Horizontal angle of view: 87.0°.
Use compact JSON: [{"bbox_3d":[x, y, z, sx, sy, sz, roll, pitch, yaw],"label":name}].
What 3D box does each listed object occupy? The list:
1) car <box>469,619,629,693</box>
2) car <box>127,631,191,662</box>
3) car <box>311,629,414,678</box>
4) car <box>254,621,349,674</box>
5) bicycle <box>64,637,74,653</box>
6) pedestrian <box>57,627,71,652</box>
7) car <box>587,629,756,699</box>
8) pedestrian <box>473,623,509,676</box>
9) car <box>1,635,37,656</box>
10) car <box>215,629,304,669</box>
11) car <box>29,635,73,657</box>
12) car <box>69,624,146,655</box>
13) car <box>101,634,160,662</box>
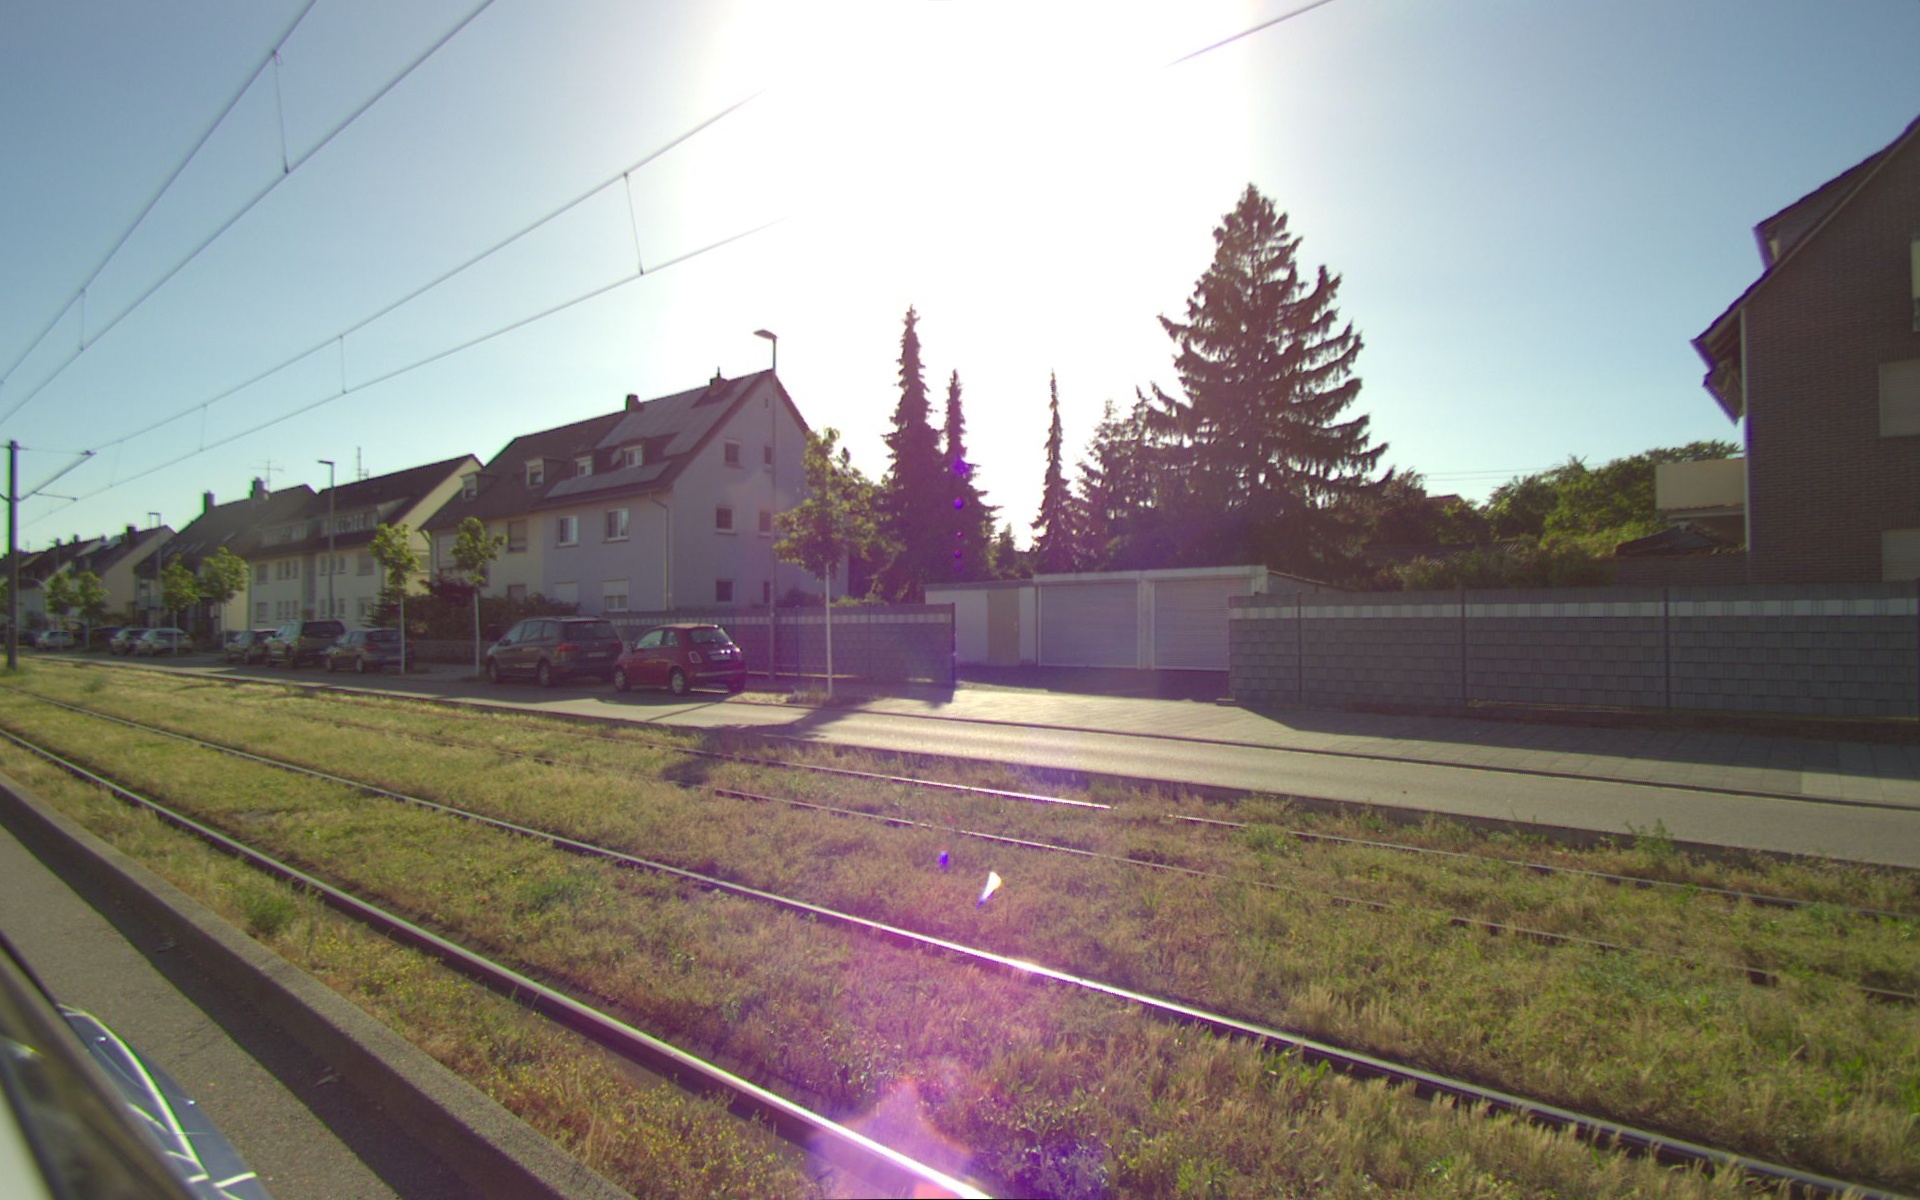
[{"bbox_3d":[-10.631,1.379,26.014,4.843,1.697,1.801,-2,0,41],"label":"car"},{"bbox_3d":[-42.082,2.403,53.110,4.437,1.486,1.672,-1,0,38],"label":"car"},{"bbox_3d":[-20.502,1.798,34.672,4.044,1.502,1.660,-2,0,38],"label":"car"},{"bbox_3d":[-25.068,1.763,38.457,4.838,1.837,1.727,-2,0,41],"label":"car"},{"bbox_3d":[-68.271,3.417,77.559,0.471,1.172,1.872,-1,0,-45],"label":"bicycle"},{"bbox_3d":[-68.361,3.005,77.177,0.676,1.829,0.611,-1,0,31],"label":"pedestrian"},{"bbox_3d":[-6.464,1.375,22.511,4.076,1.415,1.677,-2,-3,41],"label":"car"},{"bbox_3d":[-15.043,1.566,32.462,0.919,1.652,0.689,-1,0,38],"label":"pedestrian"},{"bbox_3d":[-74.321,3.576,79.893,4.082,1.523,1.603,-2,-1,40],"label":"car"},{"bbox_3d":[-29.528,2.023,42.624,4.553,1.552,1.940,-1,0,40],"label":"car"},{"bbox_3d":[-64.474,3.263,71.758,4.098,1.447,1.642,-2,-2,38],"label":"car"},{"bbox_3d":[-68.054,3.120,80.827,1.786,2.096,4.416,-1,2,40],"label":"car"},{"bbox_3d":[-46.737,2.678,56.988,4.309,1.484,1.672,-1,0,38],"label":"car"}]
